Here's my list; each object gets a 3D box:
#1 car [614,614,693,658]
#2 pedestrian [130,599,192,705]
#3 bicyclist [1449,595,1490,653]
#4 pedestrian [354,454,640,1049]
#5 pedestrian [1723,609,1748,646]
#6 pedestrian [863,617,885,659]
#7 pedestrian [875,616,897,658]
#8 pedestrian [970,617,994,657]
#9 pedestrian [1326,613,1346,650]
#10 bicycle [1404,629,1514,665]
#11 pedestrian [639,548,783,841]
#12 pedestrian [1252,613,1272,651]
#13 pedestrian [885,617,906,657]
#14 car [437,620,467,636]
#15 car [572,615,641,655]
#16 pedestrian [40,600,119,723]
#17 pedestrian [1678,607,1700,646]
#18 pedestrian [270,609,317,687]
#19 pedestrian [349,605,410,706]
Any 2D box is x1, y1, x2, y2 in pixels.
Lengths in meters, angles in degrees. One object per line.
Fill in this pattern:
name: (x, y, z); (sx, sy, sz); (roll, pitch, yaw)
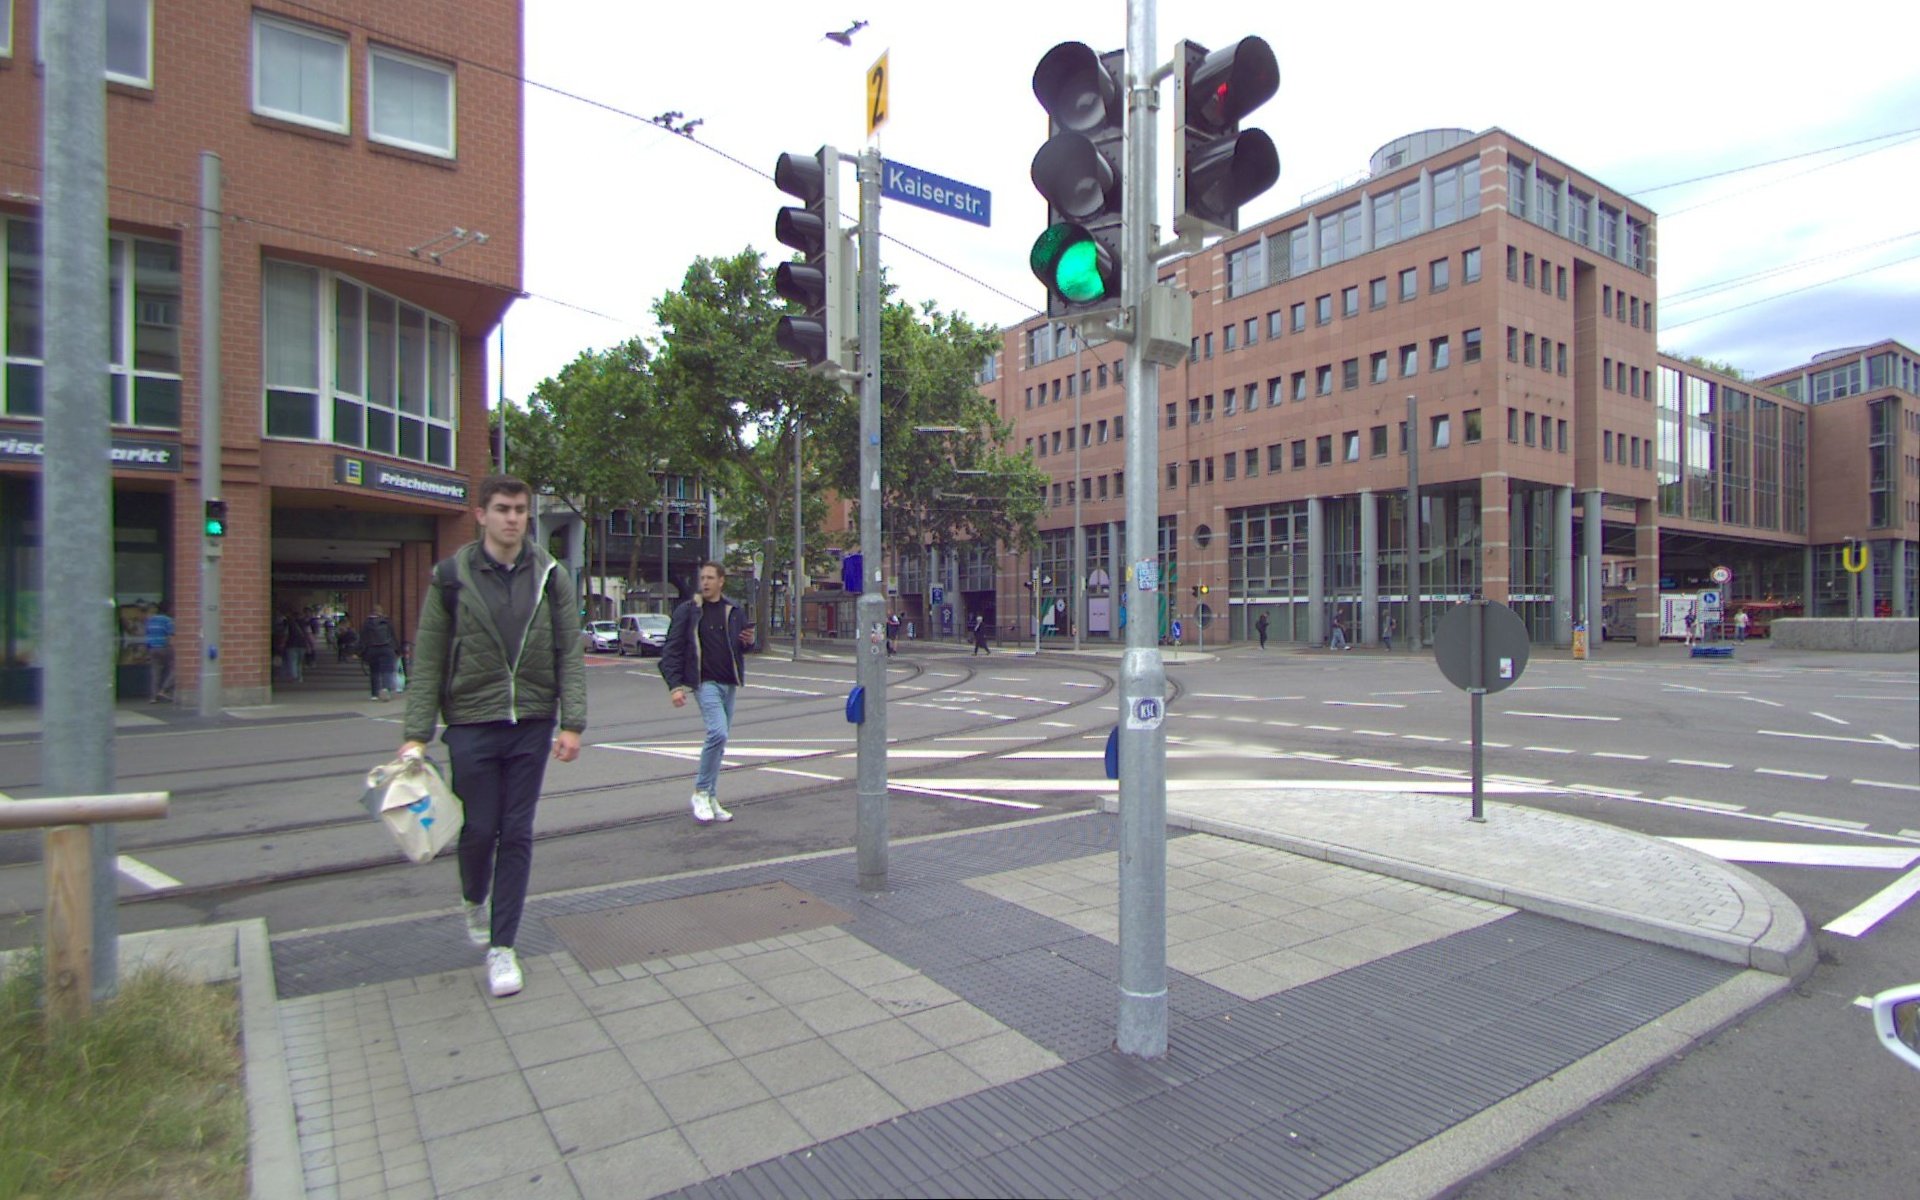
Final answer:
car: (-13.097, 1.501, 42.811); (1.912, 1.817, 3.955); (1, -1, -39)
pedestrian: (-13.266, 0.856, 16.682); (0.718, 1.709, 0.654); (2, -2, -43)
bicyclist: (16.367, 0.763, 32.269); (0.828, 1.836, 0.870); (0, 0, -33)
pedestrian: (-1.783, 0.492, 3.828); (0.791, 1.915, 0.890); (1, 0, -36)
pedestrian: (39.520, 1.418, 51.189); (0.722, 1.866, 0.700); (0, 0, -15)
pedestrian: (-3.417, 1.518, 39.947); (0.625, 1.633, 0.567); (2, -1, -42)
pedestrian: (-2.841, 1.432, 38.581); (0.625, 1.595, 0.567); (2, -1, -42)
pedestrian: (0.888, 1.505, 40.573); (0.735, 1.581, 0.570); (2, -1, -29)
pedestrian: (16.599, 1.393, 44.369); (0.731, 1.581, 0.573); (1, -1, 30)
bicycle: (16.159, 1.488, 32.649); (0.895, 1.058, 3.249); (1, -1, -32)
pedestrian: (-1.748, 0.628, 7.062); (0.792, 1.915, 0.606); (1, -1, -37)
pedestrian: (13.784, 1.478, 45.879); (0.731, 1.710, 0.573); (1, -1, 30)
pedestrian: (-2.622, 1.501, 40.772); (0.625, 1.633, 0.567); (2, -1, -42)
car: (-50.247, 2.745, 99.373); (1.912, 1.584, 3.826); (1, -1, -39)
car: (-16.839, 1.652, 47.759); (1.912, 1.817, 3.955); (1, -1, -39)
pedestrian: (-12.619, 0.863, 14.416); (0.792, 1.706, 0.564); (1, 0, -39)
pedestrian: (35.697, 1.295, 49.201); (0.728, 1.866, 0.695); (0, 0, -37)
pedestrian: (-15.082, 1.068, 22.717); (0.792, 1.706, 0.738); (1, 0, -39)
pedestrian: (-10.257, 0.959, 17.747); (0.792, 1.706, 0.738); (1, 0, -39)
